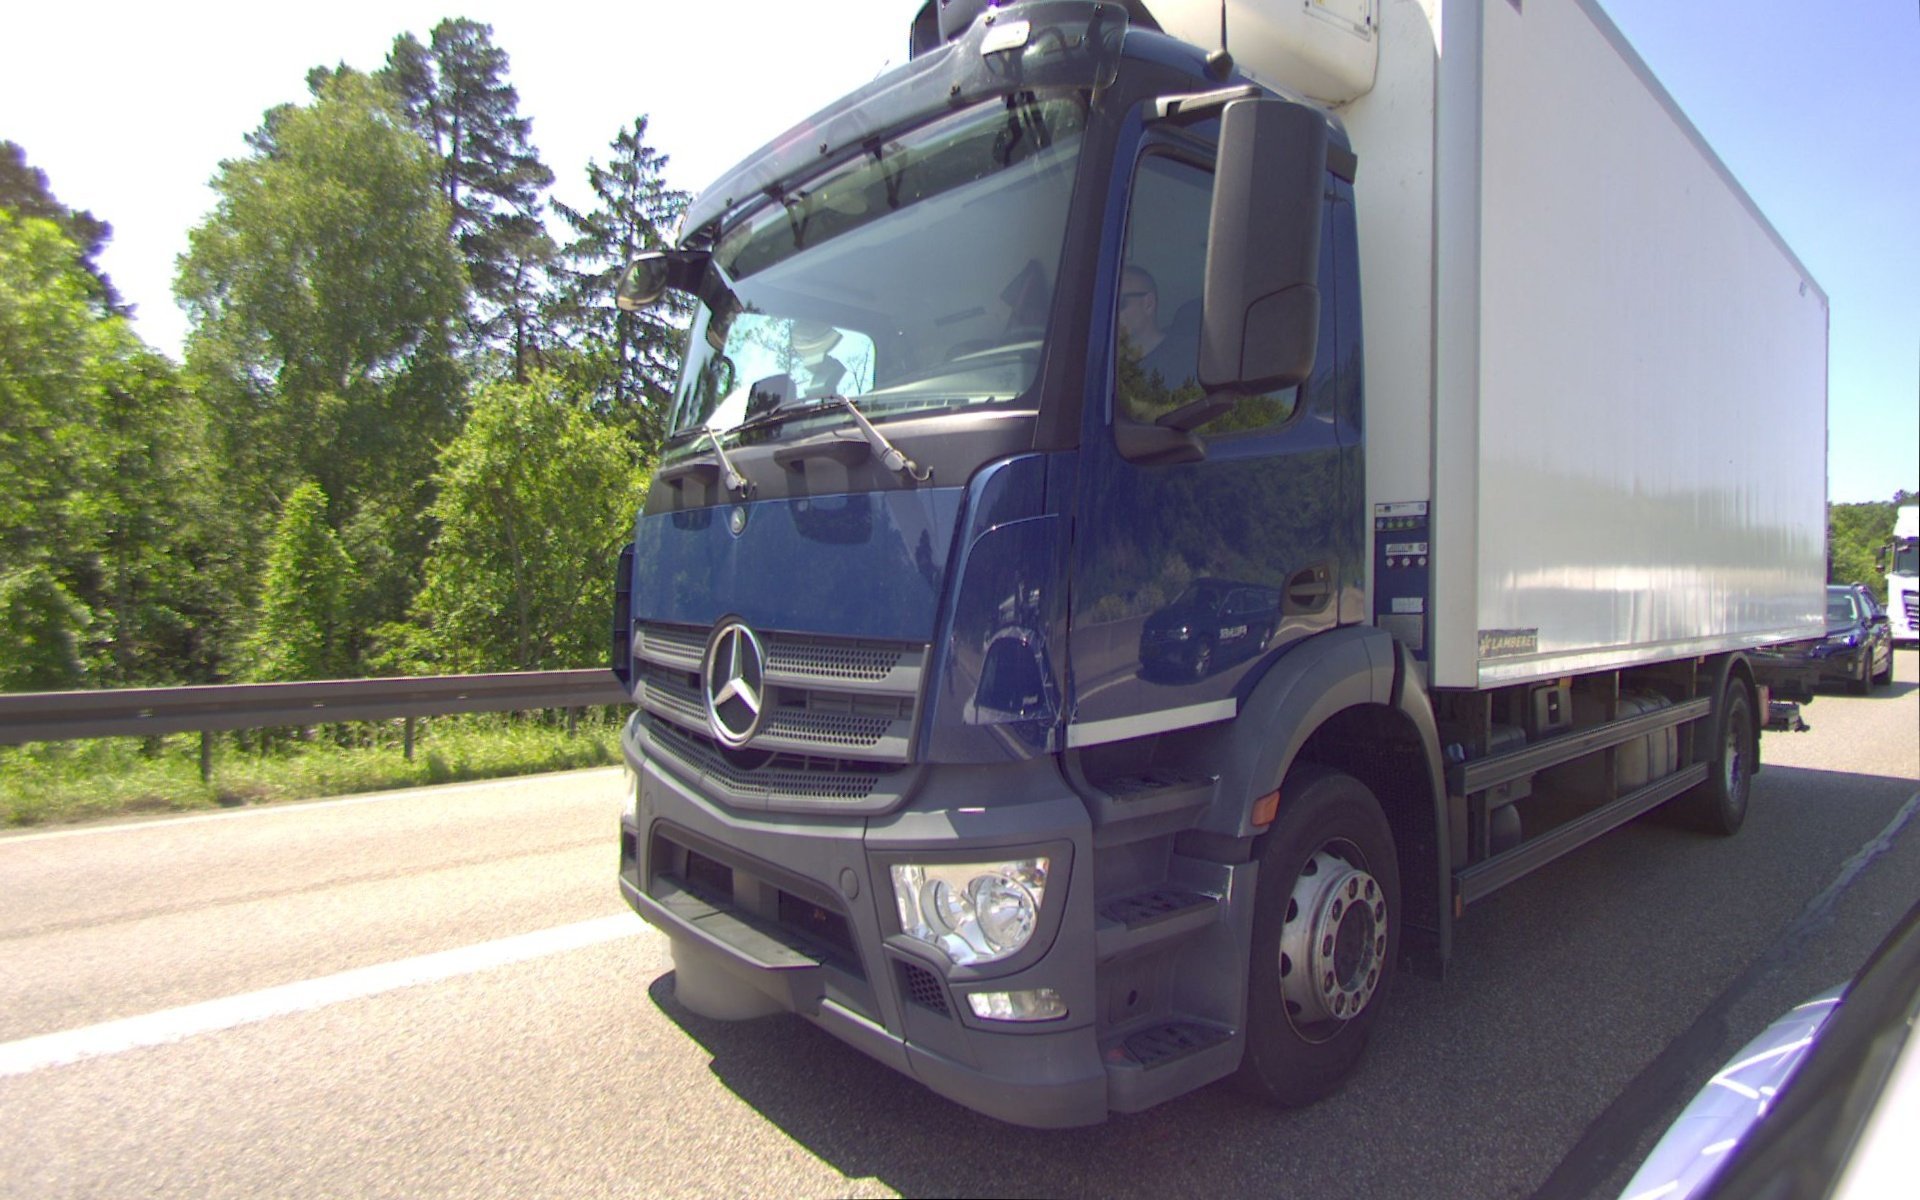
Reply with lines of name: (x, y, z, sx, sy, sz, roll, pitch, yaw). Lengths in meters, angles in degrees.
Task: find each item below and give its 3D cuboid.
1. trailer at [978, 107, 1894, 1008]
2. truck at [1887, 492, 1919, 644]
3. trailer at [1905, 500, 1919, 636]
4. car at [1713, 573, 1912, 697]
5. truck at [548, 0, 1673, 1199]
trailer: (3.864, -0.175, 6.782, 7.742, 2.935, 2.561, 0, 0, -40)
truck: (29.344, -0.938, 29.368, 7.206, 4.135, 2.765, -1, 1, -41)
trailer: (34.136, -1.050, 33.620, 11.416, 4.133, 2.765, -2, 3, -41)
car: (14.134, 0.440, 16.680, 4.535, 1.713, 1.996, -2, 3, -44)
truck: (0.782, -0.104, 4.179, 4.031, 2.977, 2.561, -1, 2, -40)
